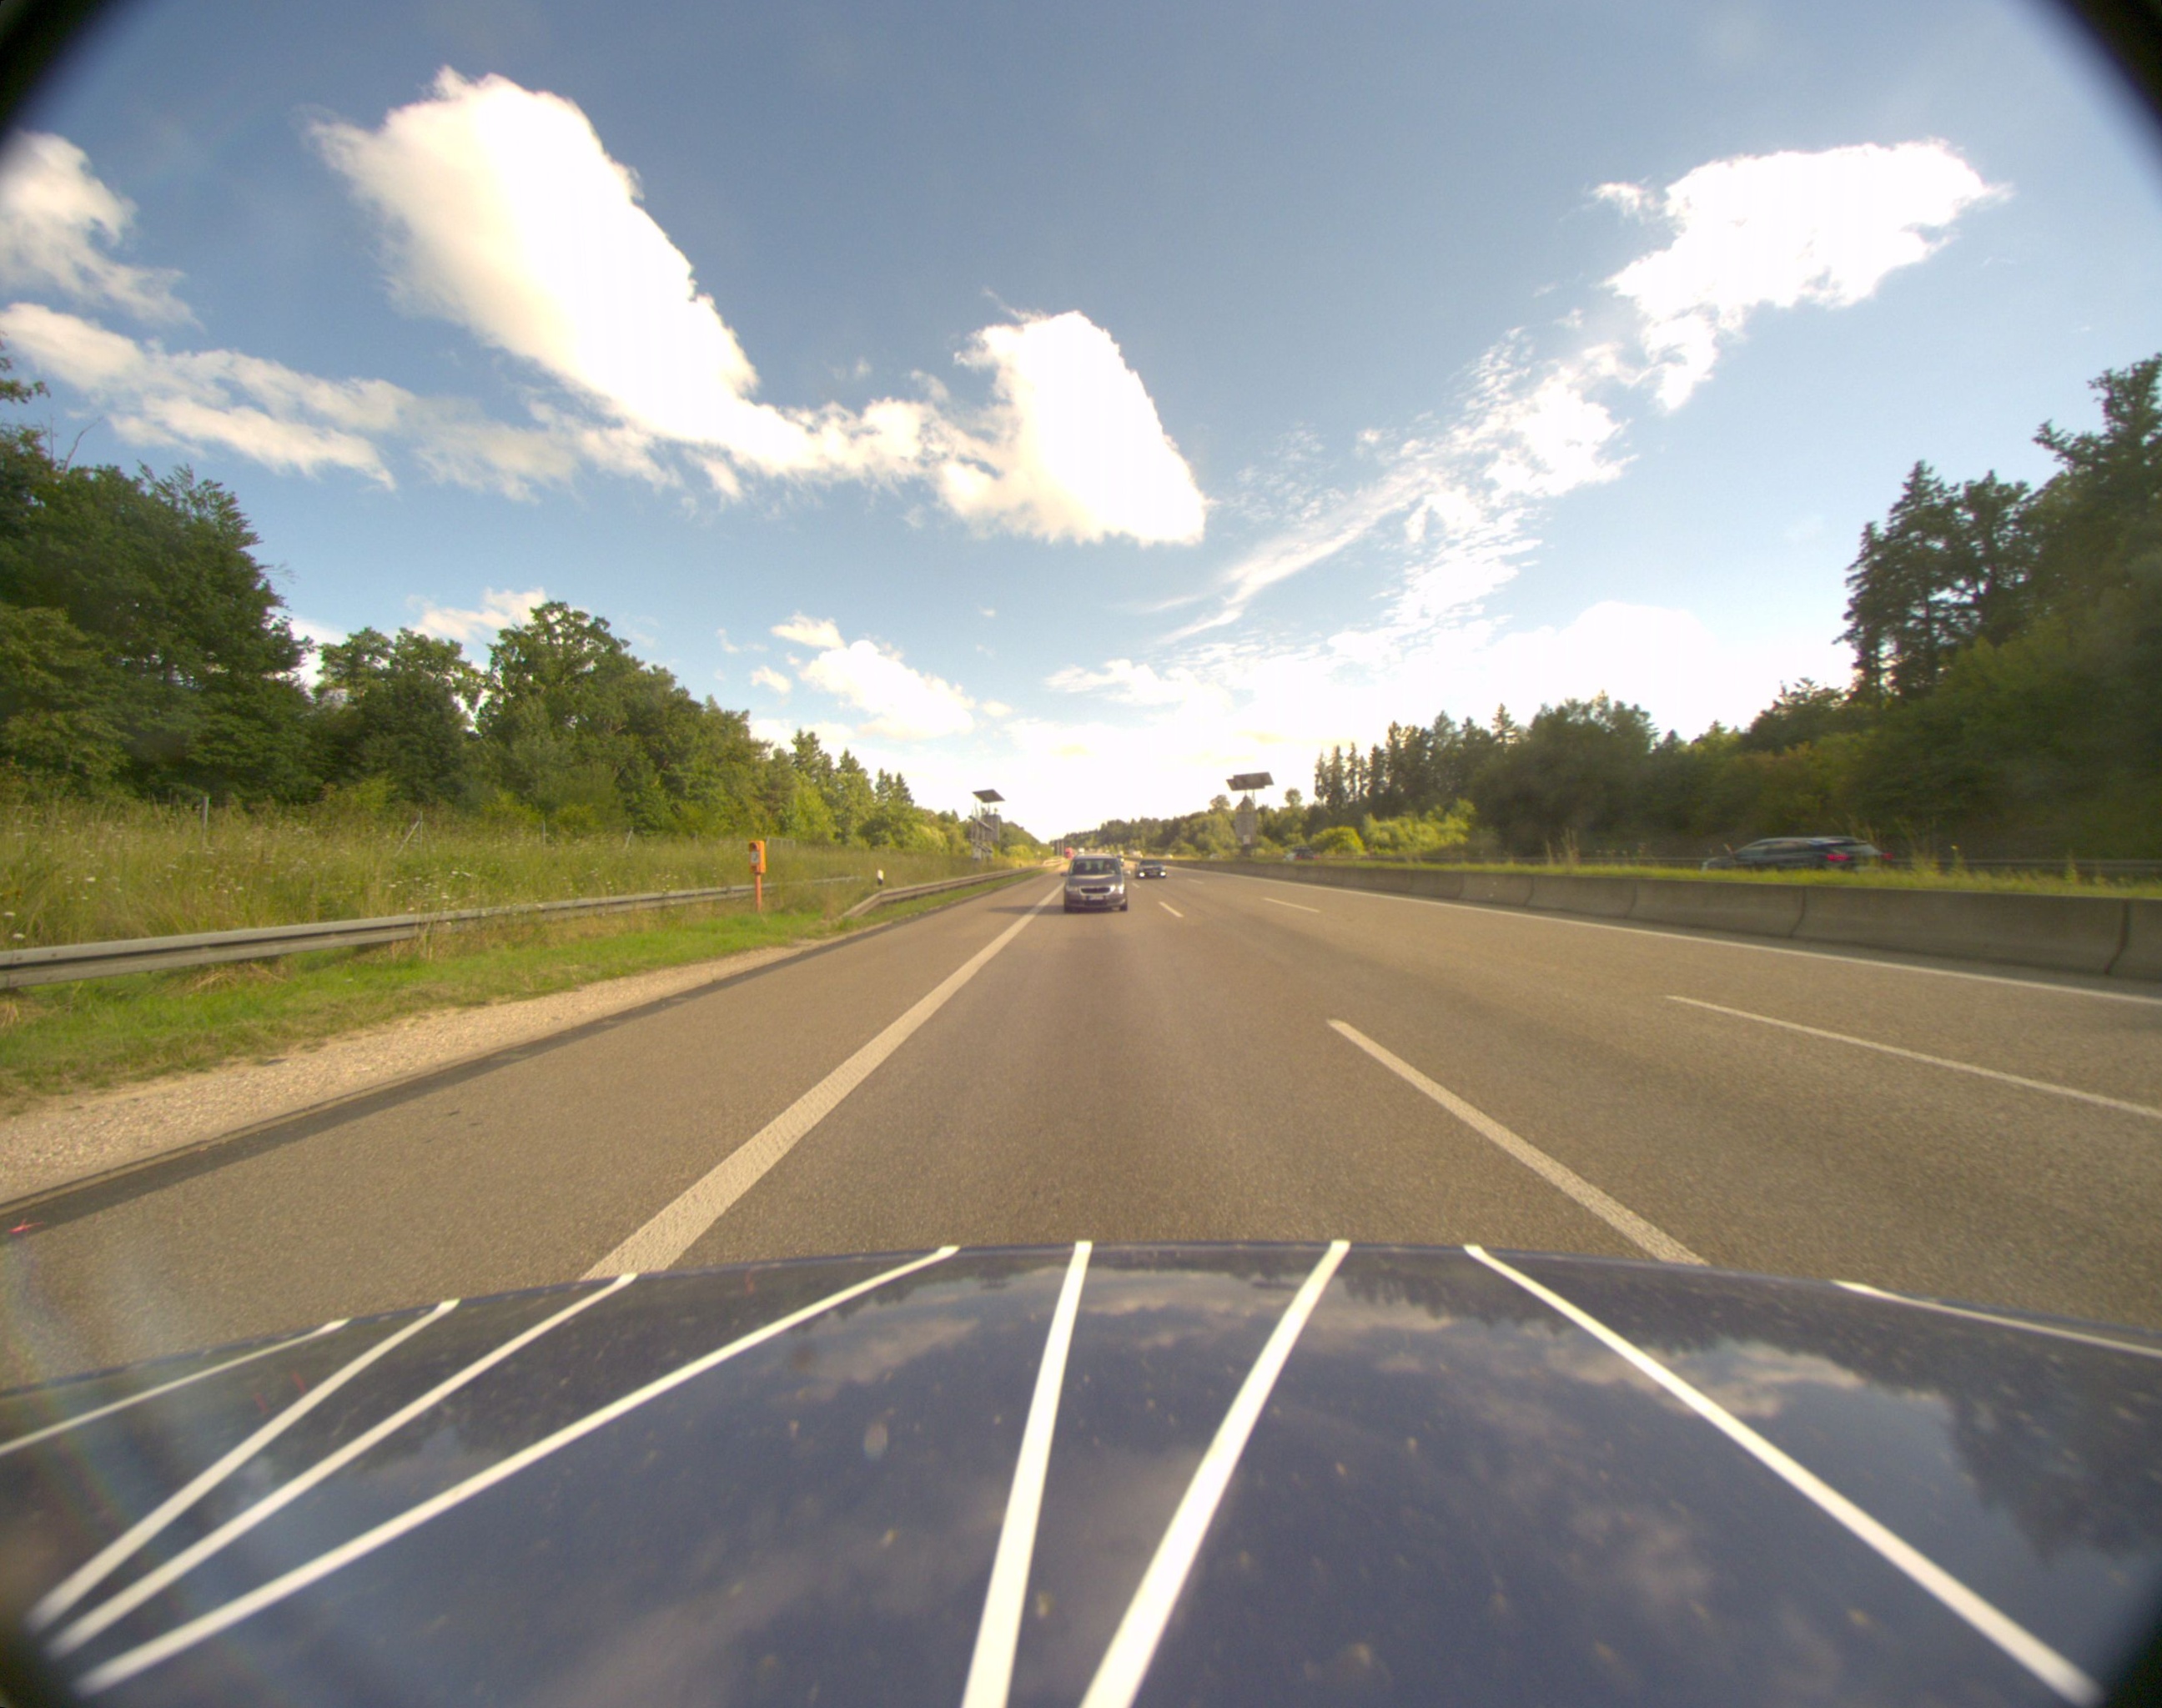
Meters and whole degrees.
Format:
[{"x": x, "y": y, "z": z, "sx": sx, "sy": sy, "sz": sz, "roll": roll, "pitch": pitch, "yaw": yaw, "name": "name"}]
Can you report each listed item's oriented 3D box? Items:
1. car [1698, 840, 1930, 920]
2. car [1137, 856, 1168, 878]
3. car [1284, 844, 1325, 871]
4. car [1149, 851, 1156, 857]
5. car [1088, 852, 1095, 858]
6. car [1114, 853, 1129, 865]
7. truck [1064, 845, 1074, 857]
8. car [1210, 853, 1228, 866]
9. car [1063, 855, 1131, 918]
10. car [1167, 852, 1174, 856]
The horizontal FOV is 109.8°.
[{"x": 19.408, "y": 0.625, "z": 20.468, "sx": 1.998, "sy": 1.870, "sz": 4.437, "roll": -2, "pitch": 0, "yaw": 1, "name": "car"}, {"x": 4.674, "y": 0.825, "z": 50.131, "sx": 1.749, "sy": 1.276, "sz": 4.199, "roll": -2, "pitch": 0, "yaw": 2, "name": "car"}, {"x": 17.289, "y": 0.263, "z": 59.011, "sx": 1.998, "sy": 2.002, "sz": 4.071, "roll": -2, "pitch": 0, "yaw": 1, "name": "car"}, {"x": 22.103, "y": -0.122, "z": 234.561, "sx": 1.929, "sy": 1.795, "sz": 4.493, "roll": -2, "pitch": 0, "yaw": 1, "name": "car"}, {"x": 3.349, "y": 0.406, "z": 236.877, "sx": 1.938, "sy": 1.772, "sz": 4.236, "roll": -2, "pitch": 0, "yaw": 2, "name": "car"}, {"x": 5.588, "y": 0.715, "z": 106.426, "sx": 1.961, "sy": 1.608, "sz": 4.388, "roll": -2, "pitch": 0, "yaw": 2, "name": "car"}, {"x": -4.104, "y": -0.992, "z": 254.663, "sx": 2.880, "sy": 3.871, "sz": 8.958, "roll": -2, "pitch": 1, "yaw": 1, "name": "truck"}, {"x": 21.433, "y": 0.822, "z": 118.021, "sx": 1.931, "sy": 1.894, "sz": 4.429, "roll": -2, "pitch": 0, "yaw": 0, "name": "car"}, {"x": 0.488, "y": 0.856, "z": 21.974, "sx": 1.742, "sy": 1.608, "sz": 4.083, "roll": -2, "pitch": 0, "yaw": 2, "name": "car"}, {"x": 25.567, "y": -0.010, "z": 217.189, "sx": 1.595, "sy": 1.087, "sz": 3.173, "roll": -2, "pitch": 0, "yaw": 1, "name": "car"}]
